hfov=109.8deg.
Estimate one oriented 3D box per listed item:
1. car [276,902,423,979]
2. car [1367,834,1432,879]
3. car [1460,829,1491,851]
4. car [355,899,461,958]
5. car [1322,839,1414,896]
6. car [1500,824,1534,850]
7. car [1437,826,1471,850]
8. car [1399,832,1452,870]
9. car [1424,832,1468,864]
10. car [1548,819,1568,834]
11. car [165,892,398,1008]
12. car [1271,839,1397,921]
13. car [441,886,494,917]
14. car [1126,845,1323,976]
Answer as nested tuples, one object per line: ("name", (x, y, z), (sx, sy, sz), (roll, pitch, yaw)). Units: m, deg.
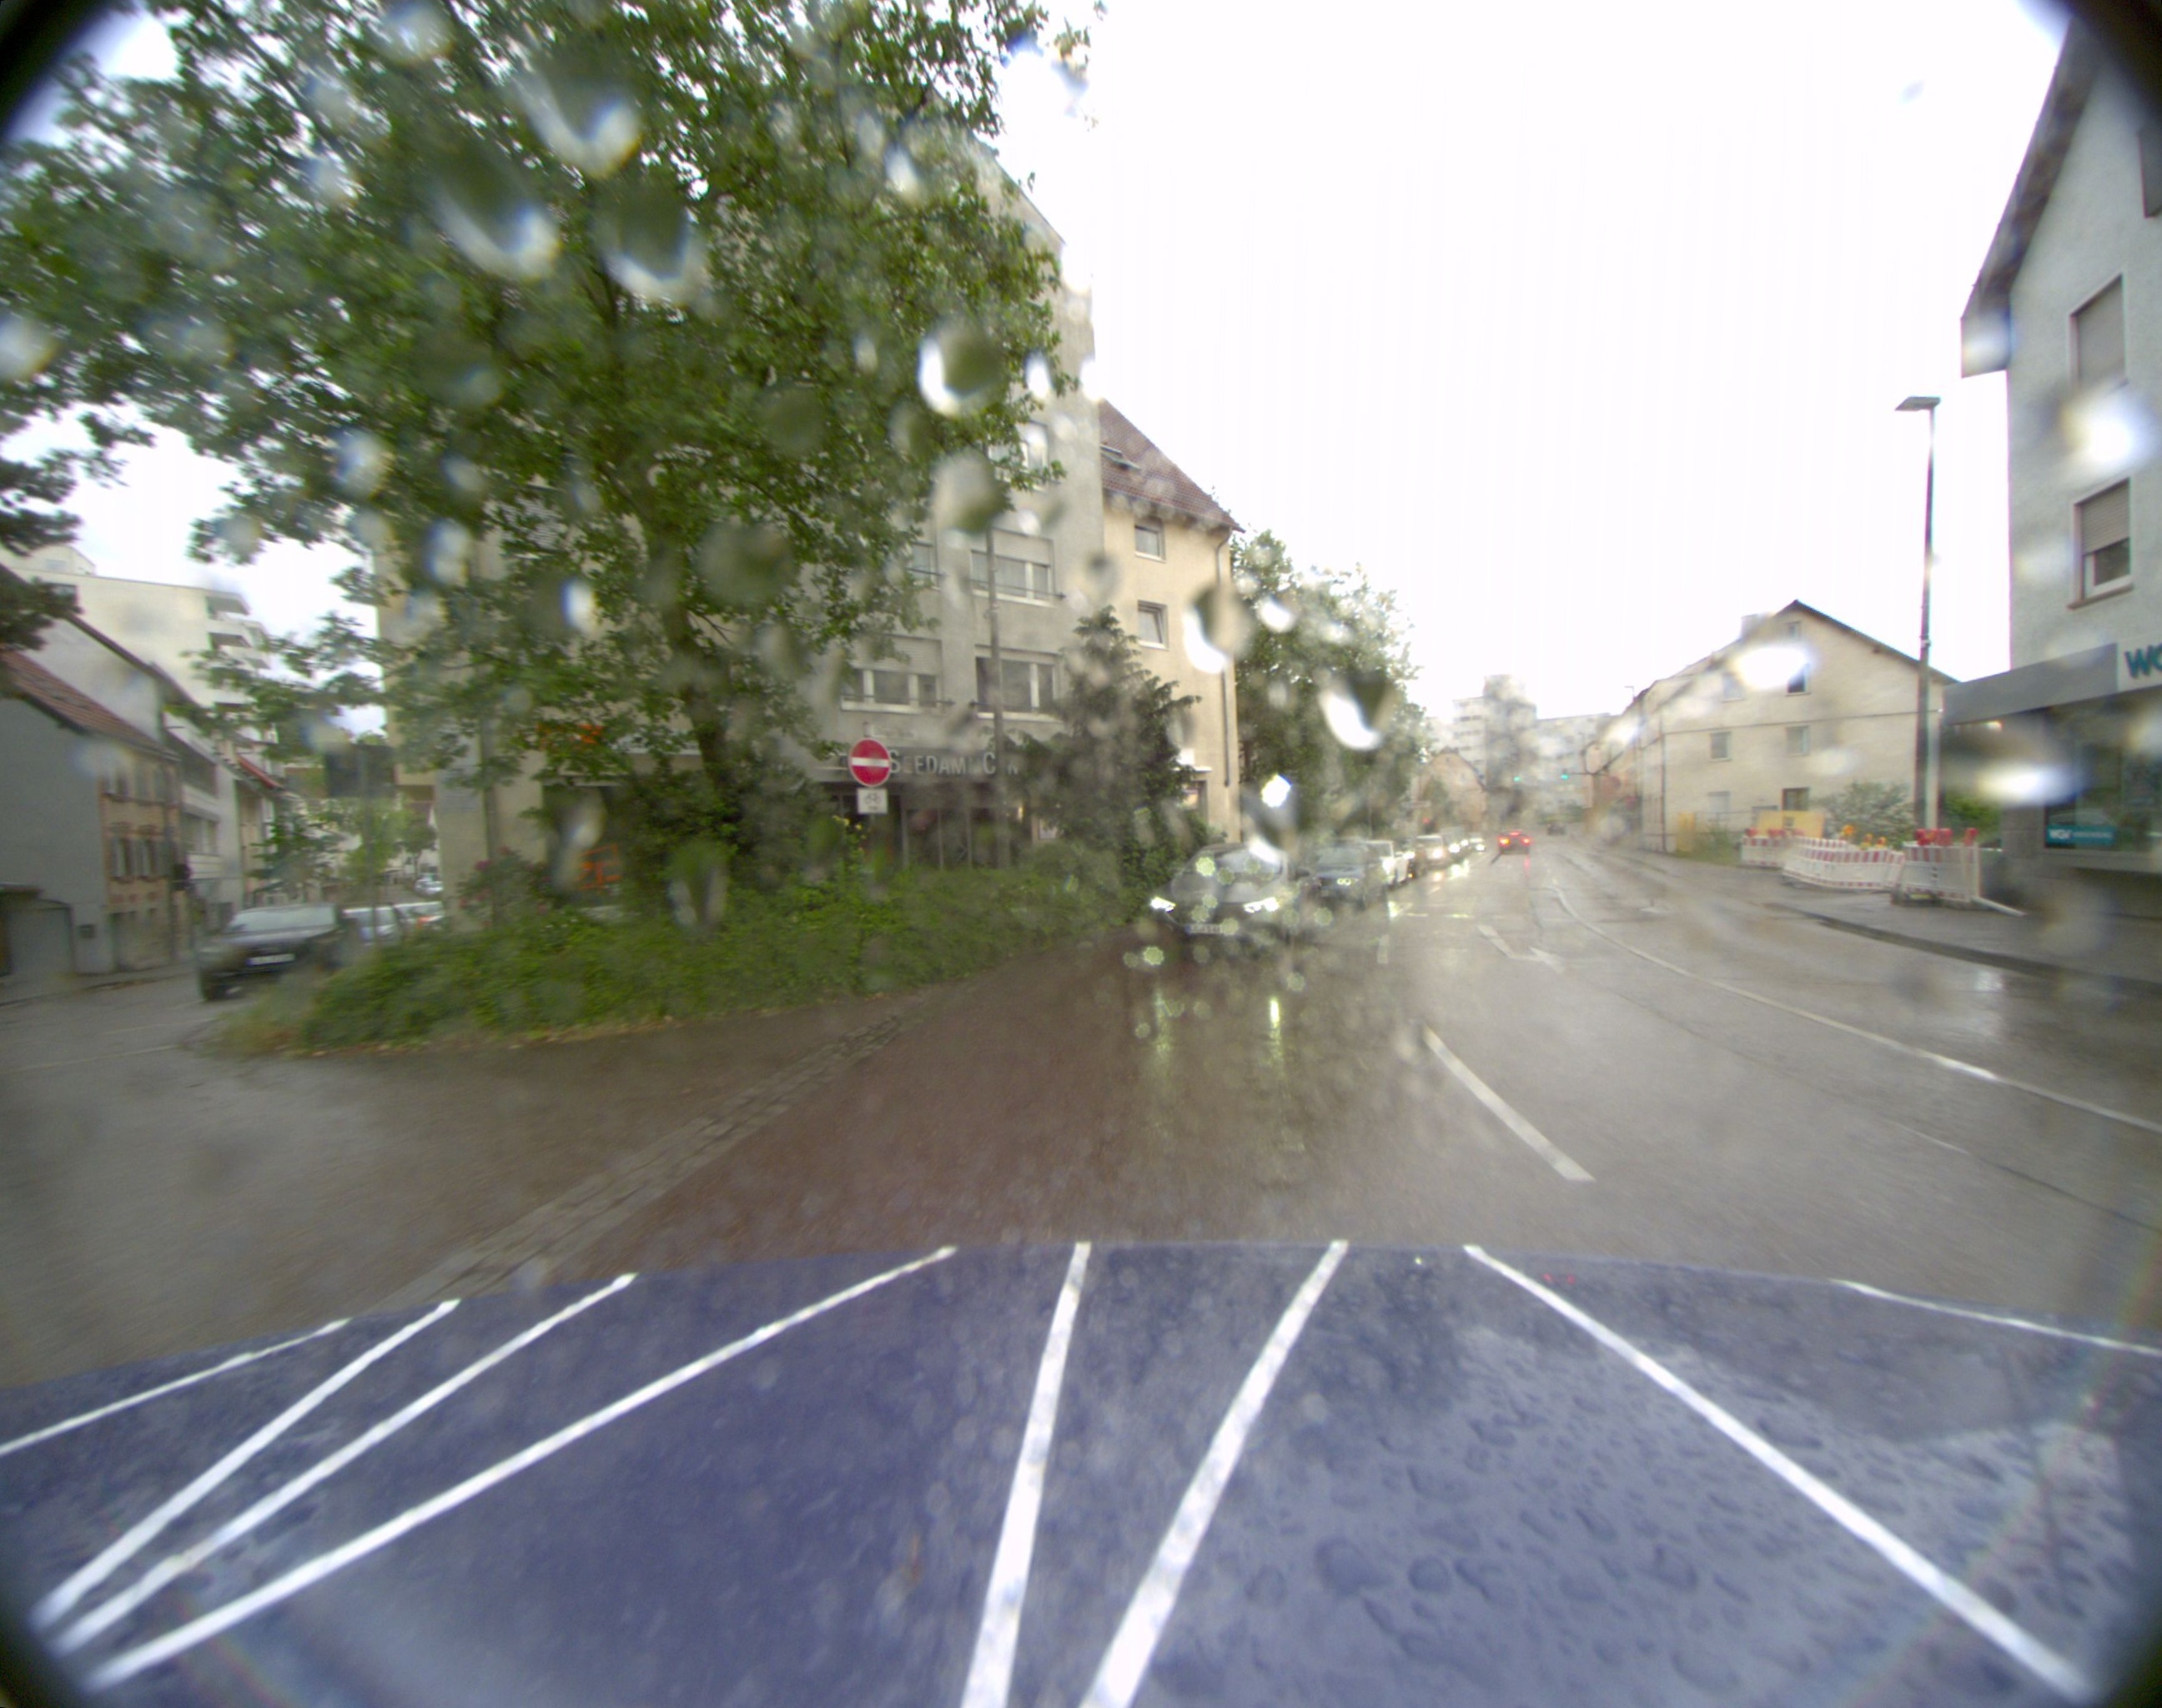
("car", (-18.362, 2.079, 19.300), (2.003, 1.564, 3.991), (-2, -1, -34))
("car", (12.281, 0.102, 29.158), (1.810, 1.556, 4.008), (-3, -1, 29))
("car", (31.131, -1.087, 60.000), (1.995, 1.542, 4.007), (-3, -1, 26))
("car", (-21.503, 2.320, 24.444), (2.003, 1.564, 3.991), (-2, -1, -34))
("car", (8.848, 0.359, 23.200), (1.995, 1.445, 4.006), (-3, 1, 29))
("car", (29.276, -1.082, 51.001), (1.810, 1.556, 4.008), (-3, -2, 31))
("car", (24.903, -1.107, 50.665), (1.850, 1.469, 4.006), (-2, 1, 27))
("car", (16.191, -0.181, 35.627), (1.841, 1.612, 4.007), (-2, 1, 30))
("car", (19.908, -0.367, 41.368), (1.829, 1.543, 4.007), (-3, 0, 30))
("car", (58.435, -3.352, 93.033), (1.824, 1.701, 3.802), (-1, 2, 36))
("car", (-15.038, 1.761, 14.610), (2.002, 1.641, 3.993), (-7, -1, -32))
("car", (5.834, 0.500, 17.163), (1.770, 1.524, 4.385), (-2, 1, 30))
("car", (-35.174, 2.701, 43.662), (2.003, 1.564, 3.990), (-2, 0, -34))
("car", (2.361, 0.683, 11.367), (1.995, 1.484, 4.319), (-2, 1, 23))
